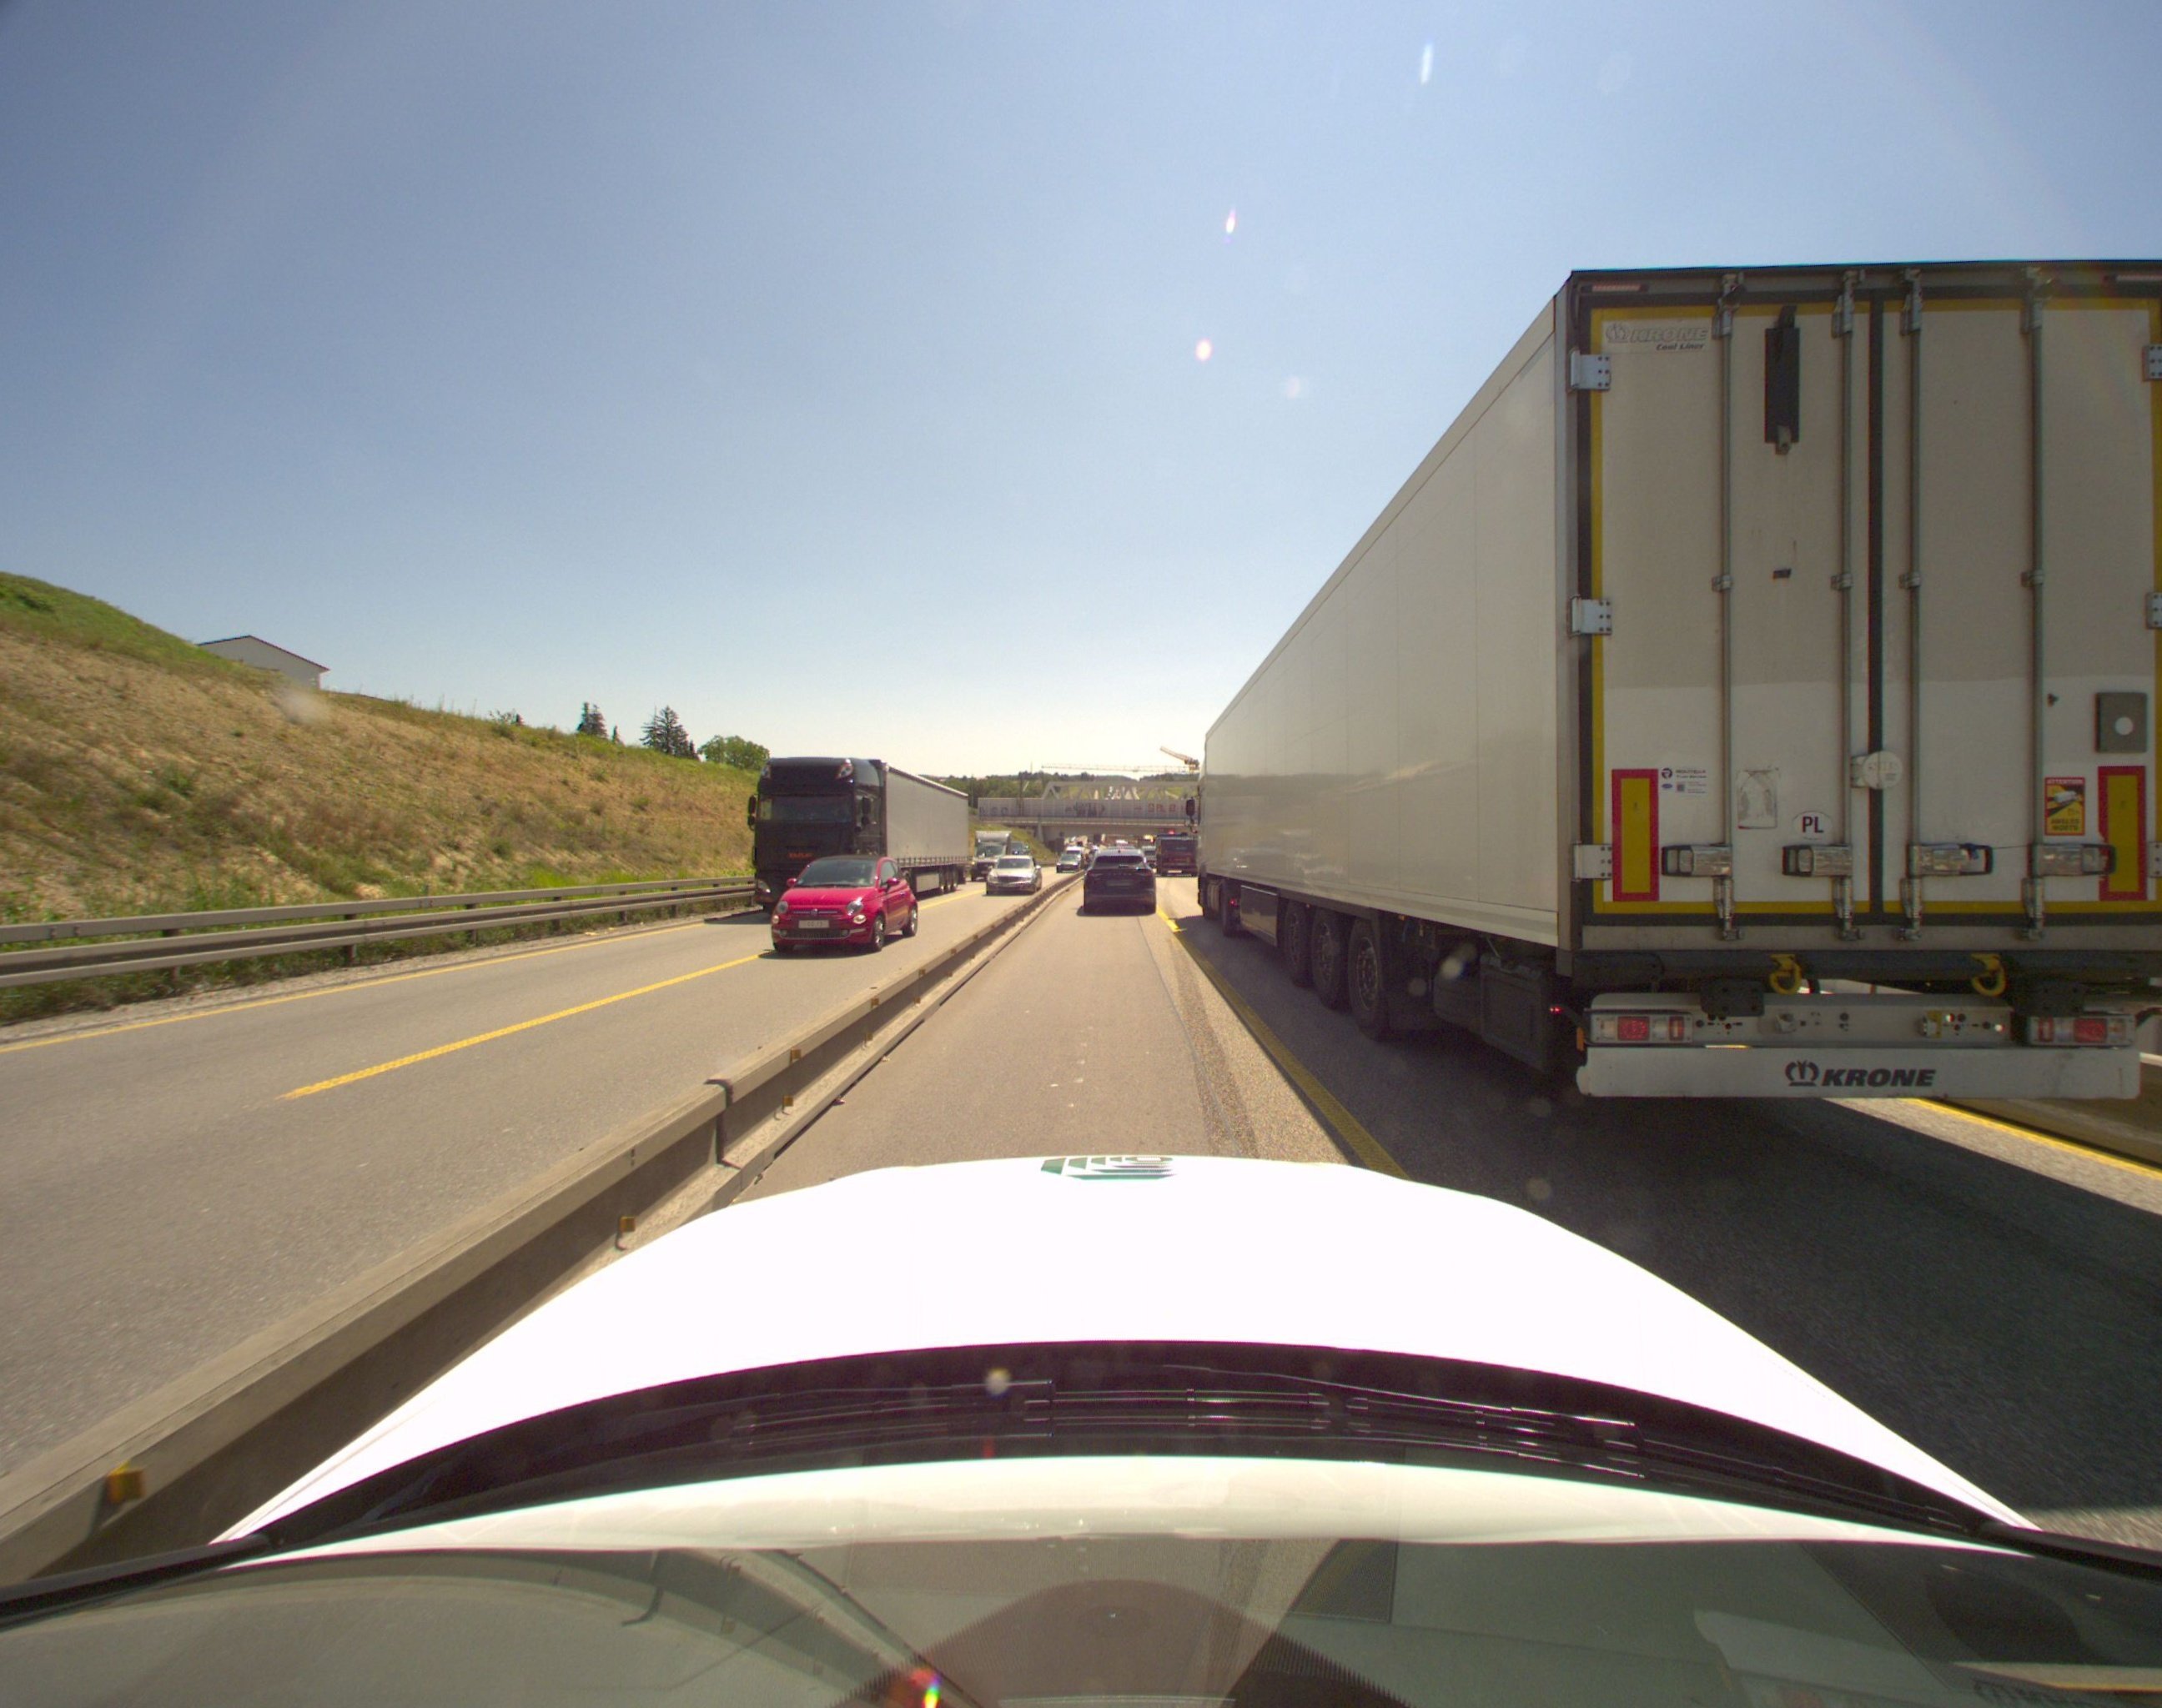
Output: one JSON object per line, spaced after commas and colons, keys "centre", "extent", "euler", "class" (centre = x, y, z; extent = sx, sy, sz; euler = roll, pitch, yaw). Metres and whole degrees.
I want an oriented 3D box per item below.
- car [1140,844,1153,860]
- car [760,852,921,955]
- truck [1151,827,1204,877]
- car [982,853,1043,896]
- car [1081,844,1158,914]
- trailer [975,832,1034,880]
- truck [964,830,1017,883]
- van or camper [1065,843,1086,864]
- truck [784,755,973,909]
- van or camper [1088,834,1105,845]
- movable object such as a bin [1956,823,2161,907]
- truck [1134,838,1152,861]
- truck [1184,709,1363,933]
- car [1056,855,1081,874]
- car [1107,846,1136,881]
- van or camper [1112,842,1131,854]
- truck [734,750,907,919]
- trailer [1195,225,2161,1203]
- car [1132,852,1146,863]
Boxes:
{"centre": [9.304, -0.268, 115.868], "extent": [1.656, 2.269, 3.797], "euler": [1, 0, 0], "class": "car"}
{"centre": [-3.848, 0.716, 13.552], "extent": [1.584, 1.487, 3.296], "euler": [-1, 0, 2], "class": "car"}
{"centre": [6.639, -0.175, 57.906], "extent": [2.803, 3.135, 12.846], "euler": [0, 0, 3], "class": "truck"}
{"centre": [-2.513, 0.716, 30.902], "extent": [1.819, 1.487, 4.198], "euler": [-1, 0, 2], "class": "car"}
{"centre": [0.968, 0.604, 21.100], "extent": [1.793, 1.620, 3.299], "euler": [-1, 0, 2], "class": "car"}
{"centre": [-4.957, 0.132, 55.354], "extent": [2.259, 2.882, 13.049], "euler": [0, 0, 2], "class": "trailer"}
{"centre": [-5.232, 0.144, 47.985], "extent": [2.259, 2.882, 5.854], "euler": [0, 0, 2], "class": "truck"}
{"centre": [-0.696, -0.065, 99.332], "extent": [2.206, 2.481, 4.755], "euler": [0, 0, 4], "class": "van or camper"}
{"centre": [-6.312, -0.603, 28.619], "extent": [2.757, 4.087, 13.812], "euler": [0, 0, 2], "class": "truck"}
{"centre": [4.912, -4.713, 260.425], "extent": [3.941, 3.419, 8.382], "euler": [0, 1, -9], "class": "van or camper"}
{"centre": [39.077, 0.364, 30.441], "extent": [2.876, 2.909, 9.485], "euler": [0, 0, 3], "class": "movable object such as a bin"}
{"centre": [11.780, -0.791, 156.212], "extent": [3.163, 4.318, 9.264], "euler": [0, 0, 3], "class": "truck"}
{"centre": [3.812, -0.599, 17.263], "extent": [2.766, 4.058, 4.907], "euler": [0, 0, 2], "class": "truck"}
{"centre": [-0.977, 0.810, 65.619], "extent": [1.659, 1.428, 4.003], "euler": [-1, 0, 3], "class": "car"}
{"centre": [2.213, 0.478, 44.014], "extent": [1.468, 1.795, 3.300], "euler": [1, 0, 3], "class": "car"}
{"centre": [11.159, -1.638, 225.304], "extent": [3.941, 3.419, 8.382], "euler": [0, 1, -9], "class": "van or camper"}
{"centre": [-6.544, -0.453, 21.260], "extent": [2.757, 3.884, 4.966], "euler": [0, 0, 2], "class": "truck"}
{"centre": [3.597, -0.583, 10.454], "extent": [2.790, 4.058, 14.124], "euler": [0, 0, 2], "class": "trailer"}
{"centre": [7.076, 0.434, 99.935], "extent": [1.486, 1.330, 3.244], "euler": [1, 0, 0], "class": "car"}
